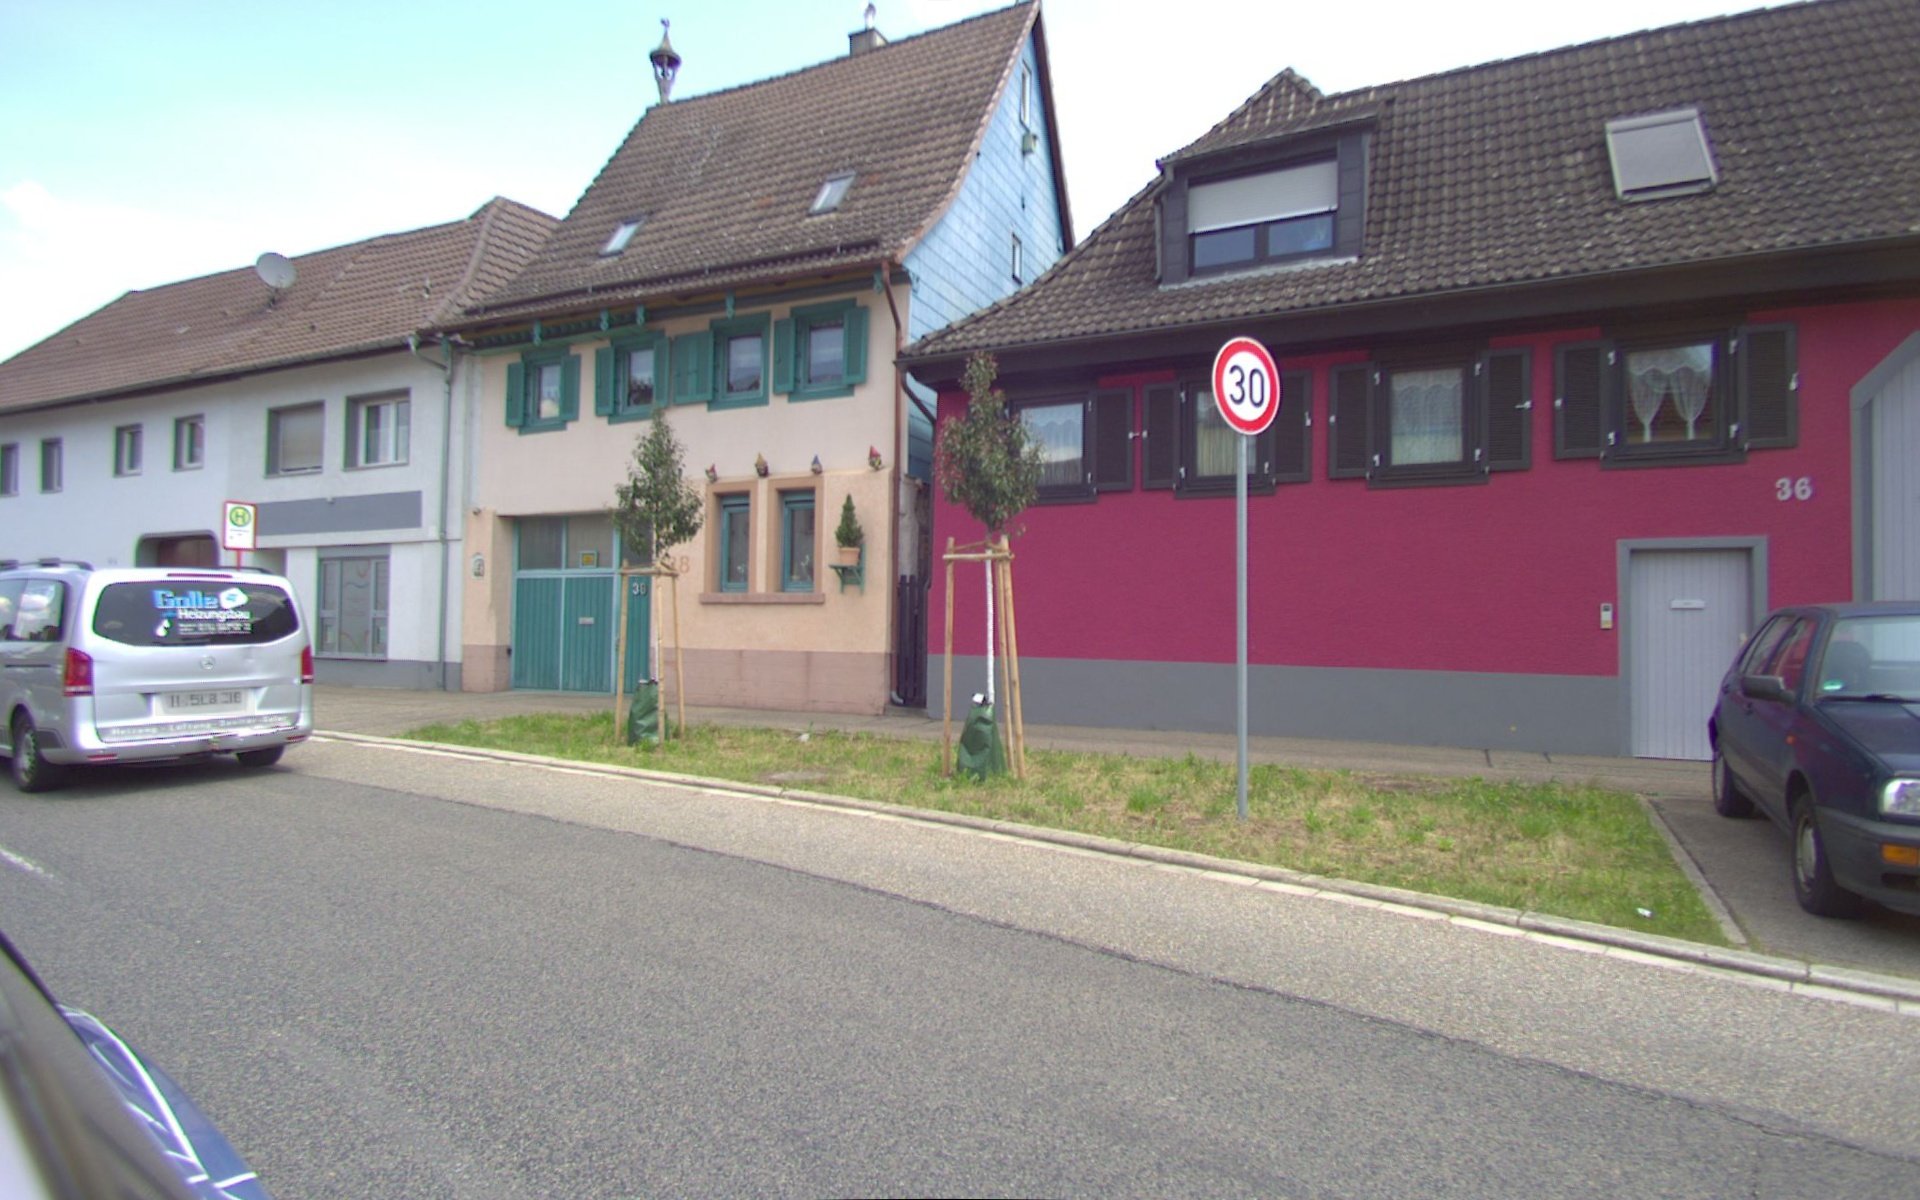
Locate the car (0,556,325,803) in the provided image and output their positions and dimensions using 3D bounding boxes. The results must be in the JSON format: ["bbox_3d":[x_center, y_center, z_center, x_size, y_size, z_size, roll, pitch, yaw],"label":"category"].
[{"bbox_3d":[-8.301,0.553,9.635,4.922,1.813,1.977,1,0,34],"label":"car"}]

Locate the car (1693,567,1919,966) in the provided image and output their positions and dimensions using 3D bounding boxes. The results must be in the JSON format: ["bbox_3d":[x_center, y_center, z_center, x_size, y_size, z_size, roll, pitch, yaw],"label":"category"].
[{"bbox_3d":[5.149,0.620,5.134,1.713,1.475,3.943,0,0,27],"label":"car"}]
